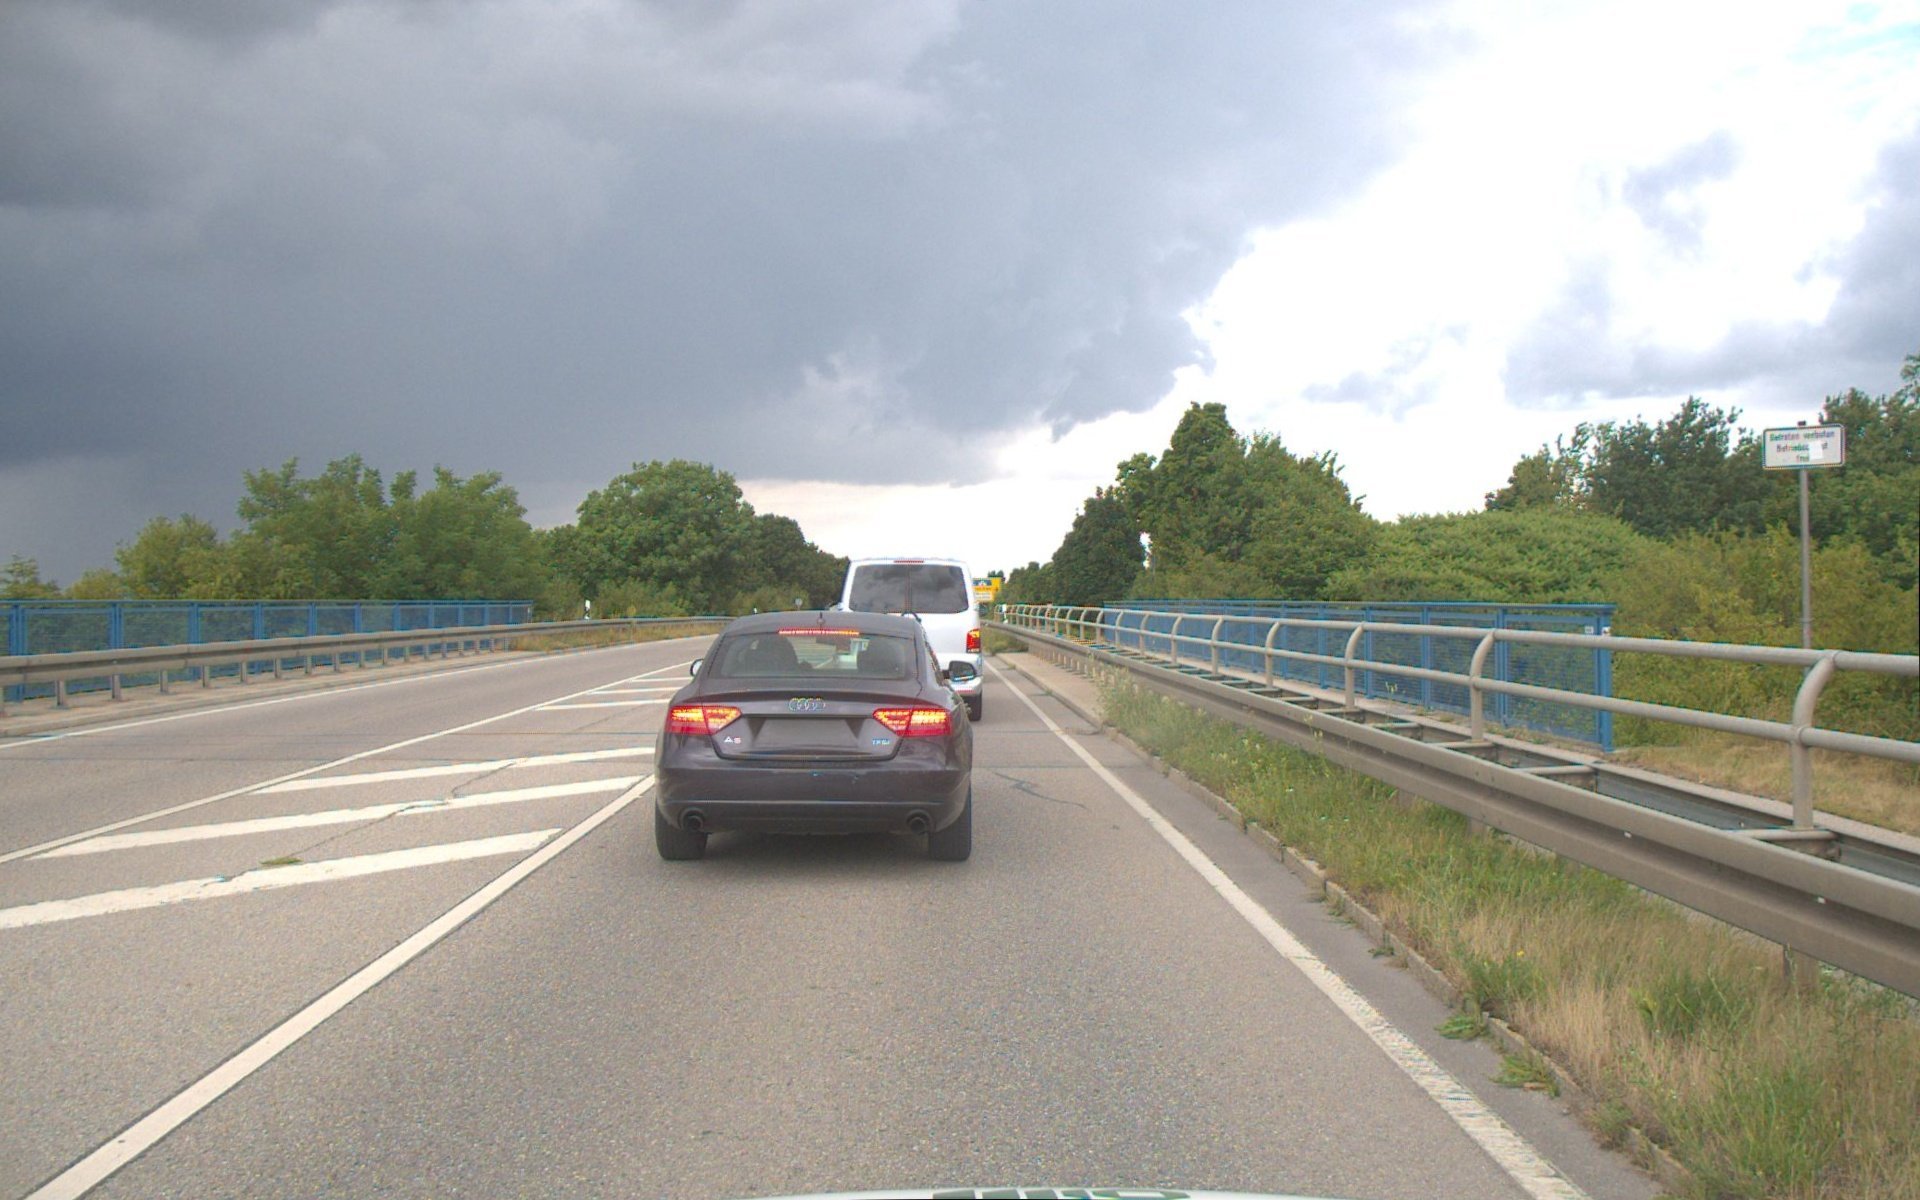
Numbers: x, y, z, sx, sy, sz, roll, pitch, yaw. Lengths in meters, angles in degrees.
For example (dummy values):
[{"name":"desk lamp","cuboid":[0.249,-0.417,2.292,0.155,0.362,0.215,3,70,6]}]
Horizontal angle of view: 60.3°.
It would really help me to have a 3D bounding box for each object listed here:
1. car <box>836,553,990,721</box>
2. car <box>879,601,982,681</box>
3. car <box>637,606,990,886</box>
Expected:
[{"name":"car","cuboid":[-0.605,0.438,21.430,1.791,1.969,3.999,0,0,-2]},{"name":"car","cuboid":[-0.528,0.721,30.923,1.784,1.405,4.071,0,0,0]},{"name":"car","cuboid":[-0.758,0.754,10.482,1.784,1.405,4.071,1,0,0]}]
